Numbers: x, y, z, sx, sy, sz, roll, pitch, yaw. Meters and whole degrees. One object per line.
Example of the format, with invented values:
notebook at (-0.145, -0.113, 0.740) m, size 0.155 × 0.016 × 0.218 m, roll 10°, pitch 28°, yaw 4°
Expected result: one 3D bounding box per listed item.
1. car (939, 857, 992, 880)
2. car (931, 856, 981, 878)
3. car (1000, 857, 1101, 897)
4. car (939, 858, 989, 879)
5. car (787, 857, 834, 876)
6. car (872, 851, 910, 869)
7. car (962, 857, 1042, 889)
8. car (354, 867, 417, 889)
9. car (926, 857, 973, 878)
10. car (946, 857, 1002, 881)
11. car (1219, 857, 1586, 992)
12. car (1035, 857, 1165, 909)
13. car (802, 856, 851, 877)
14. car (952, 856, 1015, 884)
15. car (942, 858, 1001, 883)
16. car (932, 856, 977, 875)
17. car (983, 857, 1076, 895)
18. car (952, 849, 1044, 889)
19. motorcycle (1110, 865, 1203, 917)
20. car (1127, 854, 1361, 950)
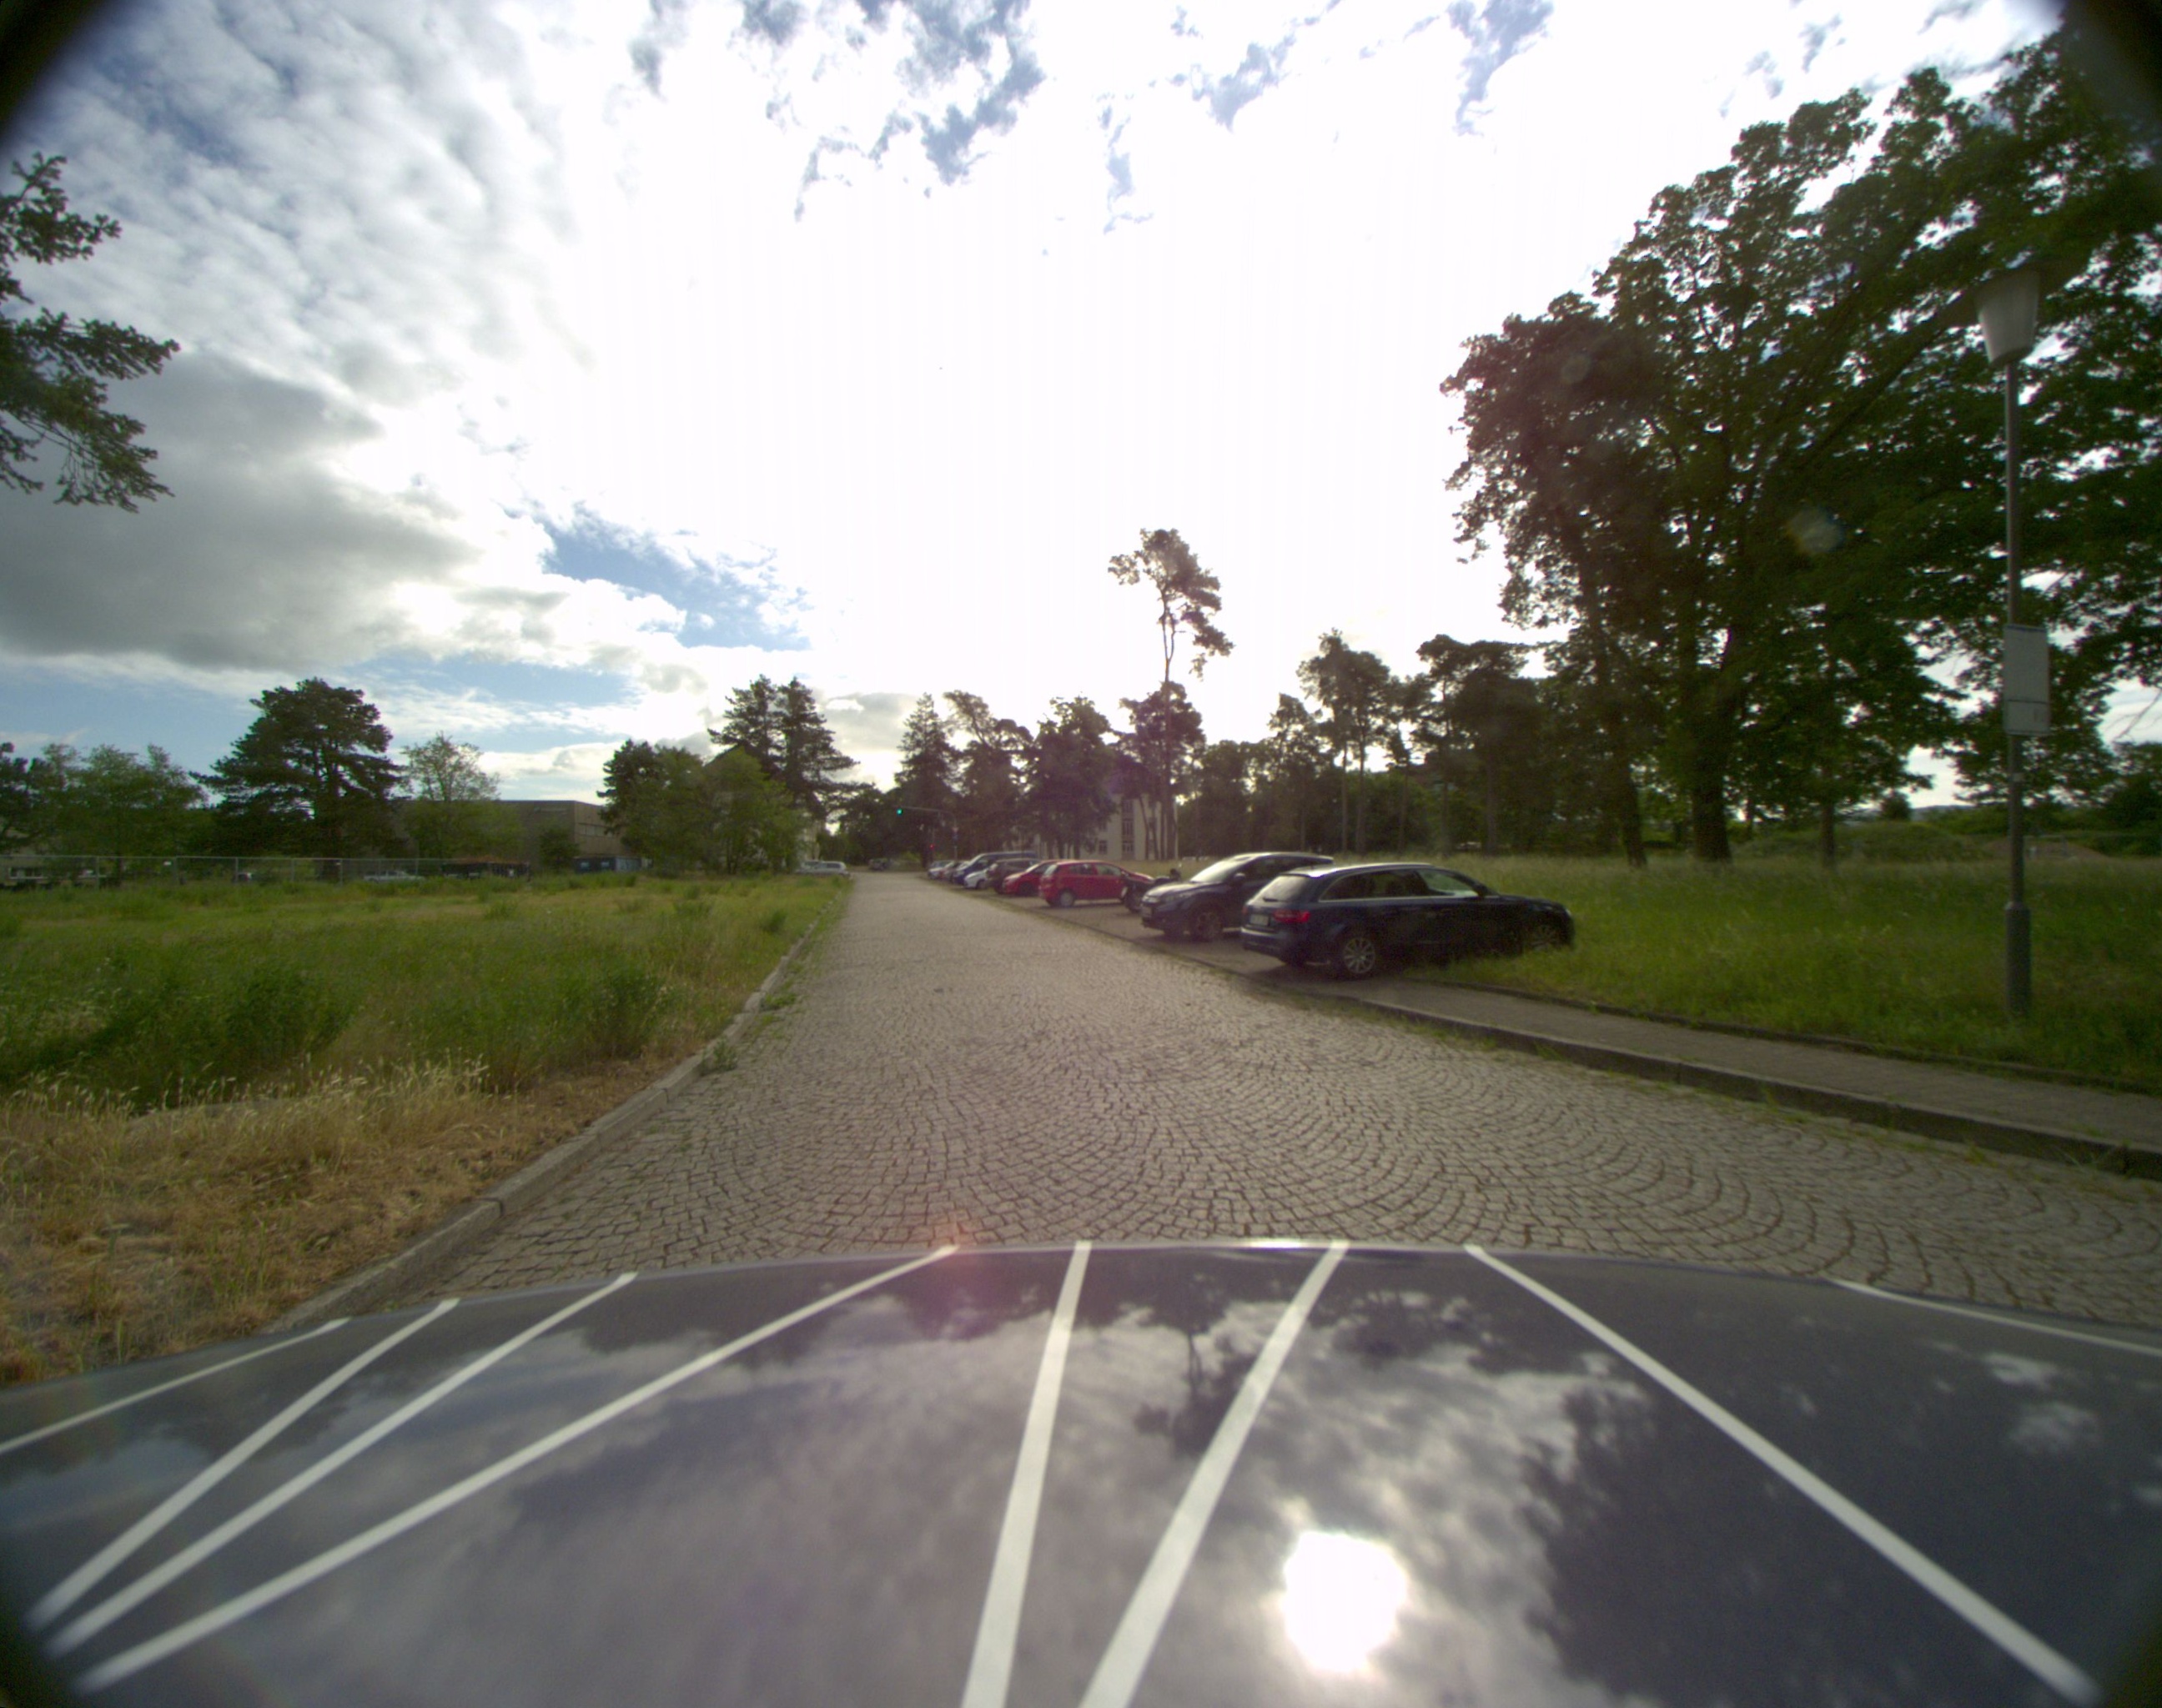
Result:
car at (-8.633, 1.069, 56.867) m, size 3.576 × 1.409 × 1.635 m, roll -4°, pitch 2°, yaw -23°
car at (-10.018, 1.056, 60.900) m, size 3.577 × 1.479 × 1.599 m, roll -4°, pitch 2°, yaw -24°
car at (-1.328, 0.942, 32.330) m, size 3.956 × 1.511 × 1.705 m, roll -2°, pitch 0°, yaw -16°
car at (-9.121, 1.097, 59.072) m, size 3.654 × 1.341 × 1.618 m, roll -4°, pitch 2°, yaw -12°
car at (-23.897, 1.071, 67.219) m, size 3.735 × 1.430 × 1.623 m, roll -4°, pitch 2°, yaw -23°
car at (-32.506, 0.971, 129.786) m, size 5.804 × 2.548 × 2.764 m, roll -4°, pitch 2°, yaw -21°
car at (-4.278, 0.977, 40.920) m, size 3.935 × 1.385 × 1.740 m, roll -4°, pitch 2°, yaw -17°
car at (-62.756, 2.143, 68.603) m, size 1.995 × 1.892 × 3.779 m, roll -2°, pitch -2°, yaw 34°
car at (-11.043, 1.091, 63.652) m, size 3.575 × 1.450 × 1.624 m, roll -4°, pitch 2°, yaw -18°
car at (-7.649, 1.044, 54.344) m, size 3.576 × 1.426 × 1.603 m, roll -4°, pitch 2°, yaw -23°
car at (4.315, 0.856, 10.385) m, size 4.447 × 1.471 × 1.680 m, roll -2°, pitch 0°, yaw -12°
car at (0.603, 0.922, 24.957) m, size 3.899 × 1.470 × 1.669 m, roll -2°, pitch 1°, yaw -16°
car at (-20.915, 1.015, 62.509) m, size 3.734 × 1.430 × 1.623 m, roll -3°, pitch 2°, yaw -20°
car at (-6.290, 0.996, 48.846) m, size 3.604 × 1.446 × 1.684 m, roll -4°, pitch 2°, yaw -23°
car at (-7.384, 1.087, 51.342) m, size 3.604 × 1.413 × 1.615 m, roll -3°, pitch 2°, yaw -23°
car at (-11.038, 0.963, 66.177) m, size 3.459 × 1.424 × 1.625 m, roll -4°, pitch 2°, yaw -25°
car at (-2.373, 0.984, 34.858) m, size 3.922 × 1.594 × 1.818 m, roll -1°, pitch 0°, yaw -18°
car at (-4.767, 0.798, 43.444) m, size 4.839 × 1.855 × 2.158 m, roll -4°, pitch 2°, yaw -17°
motorcycle at (2.060, 0.993, 20.725) m, size 2.364 × 1.280 × 0.743 m, roll -2°, pitch 1°, yaw -15°
car at (3.185, 0.856, 14.983) m, size 4.154 × 1.564 × 1.787 m, roll -2°, pitch 1°, yaw -17°
